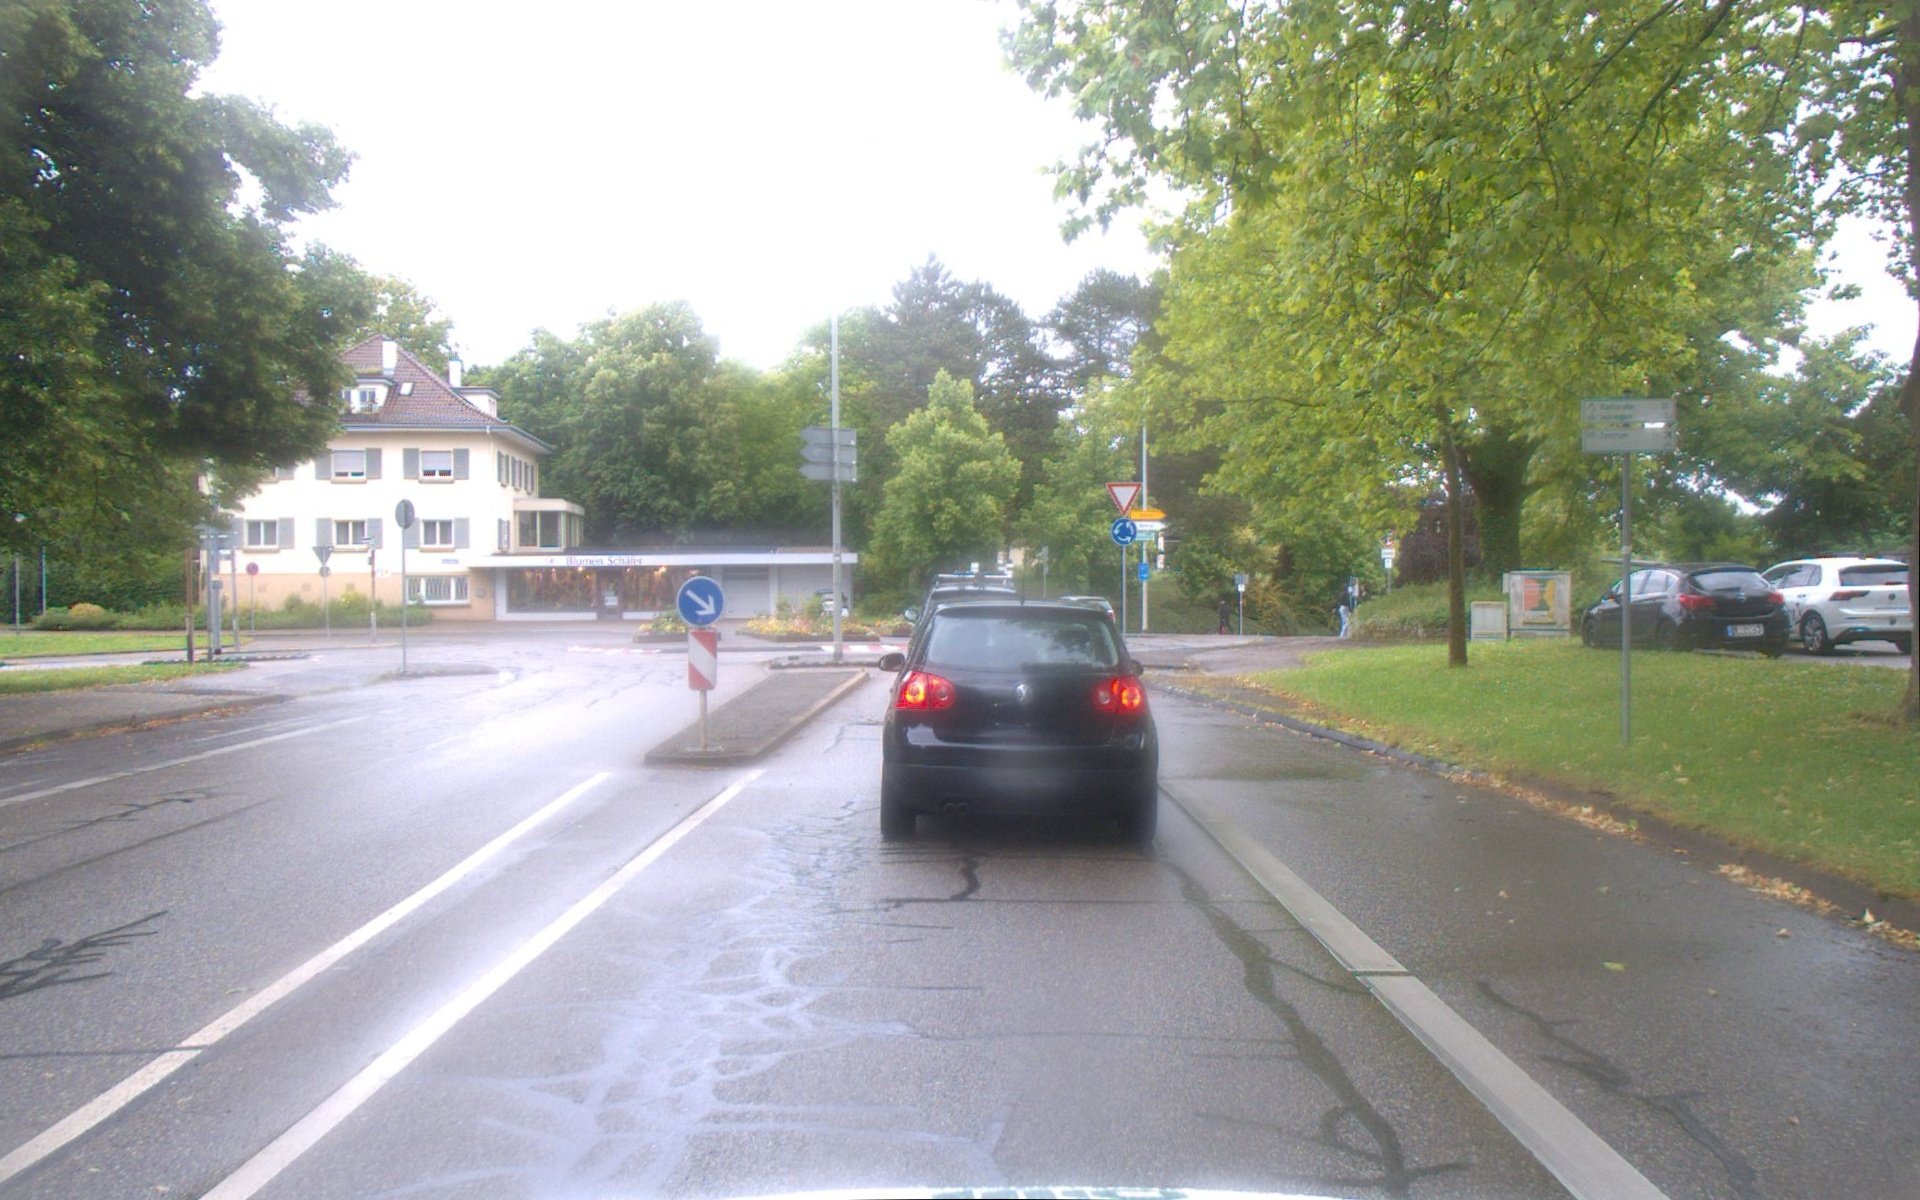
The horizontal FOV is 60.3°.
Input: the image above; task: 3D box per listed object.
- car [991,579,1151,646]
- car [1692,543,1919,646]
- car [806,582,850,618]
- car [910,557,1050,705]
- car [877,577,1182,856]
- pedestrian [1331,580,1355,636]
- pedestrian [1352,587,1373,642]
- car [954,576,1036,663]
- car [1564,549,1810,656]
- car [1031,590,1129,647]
[{"bbox_3d":[2.981,0.338,44.179,3.992,1.713,1.972,1,-1,-39],"label":"car"},{"bbox_3d":[13.917,-0.080,26.923,1.808,1.497,4.423,-2,0,-3],"label":"car"},{"bbox_3d":[-5.969,-0.011,74.566,1.778,1.512,3.824,-2,0,-8],"label":"car"},{"bbox_3d":[0.192,0.406,23.189,1.729,1.833,4.244,-2,0,-2],"label":"car"},{"bbox_3d":[0.461,0.650,11.474,1.728,1.565,4.001,1,0,2],"label":"car"},{"bbox_3d":[12.196,0.252,52.678,0.519,1.743,0.633,1,-1,-15],"label":"pedestrian"},{"bbox_3d":[12.942,0.464,53.150,0.620,1.743,0.530,1,-1,15],"label":"pedestrian"},{"bbox_3d":[0.824,0.433,37.986,1.728,1.833,4.247,-2,0,2],"label":"car"},{"bbox_3d":[11.519,0.048,26.589,1.729,1.496,4.596,-2,0,-2],"label":"car"},{"bbox_3d":[3.858,0.585,53.986,1.960,1.772,4.127,1,0,-15],"label":"car"}]
